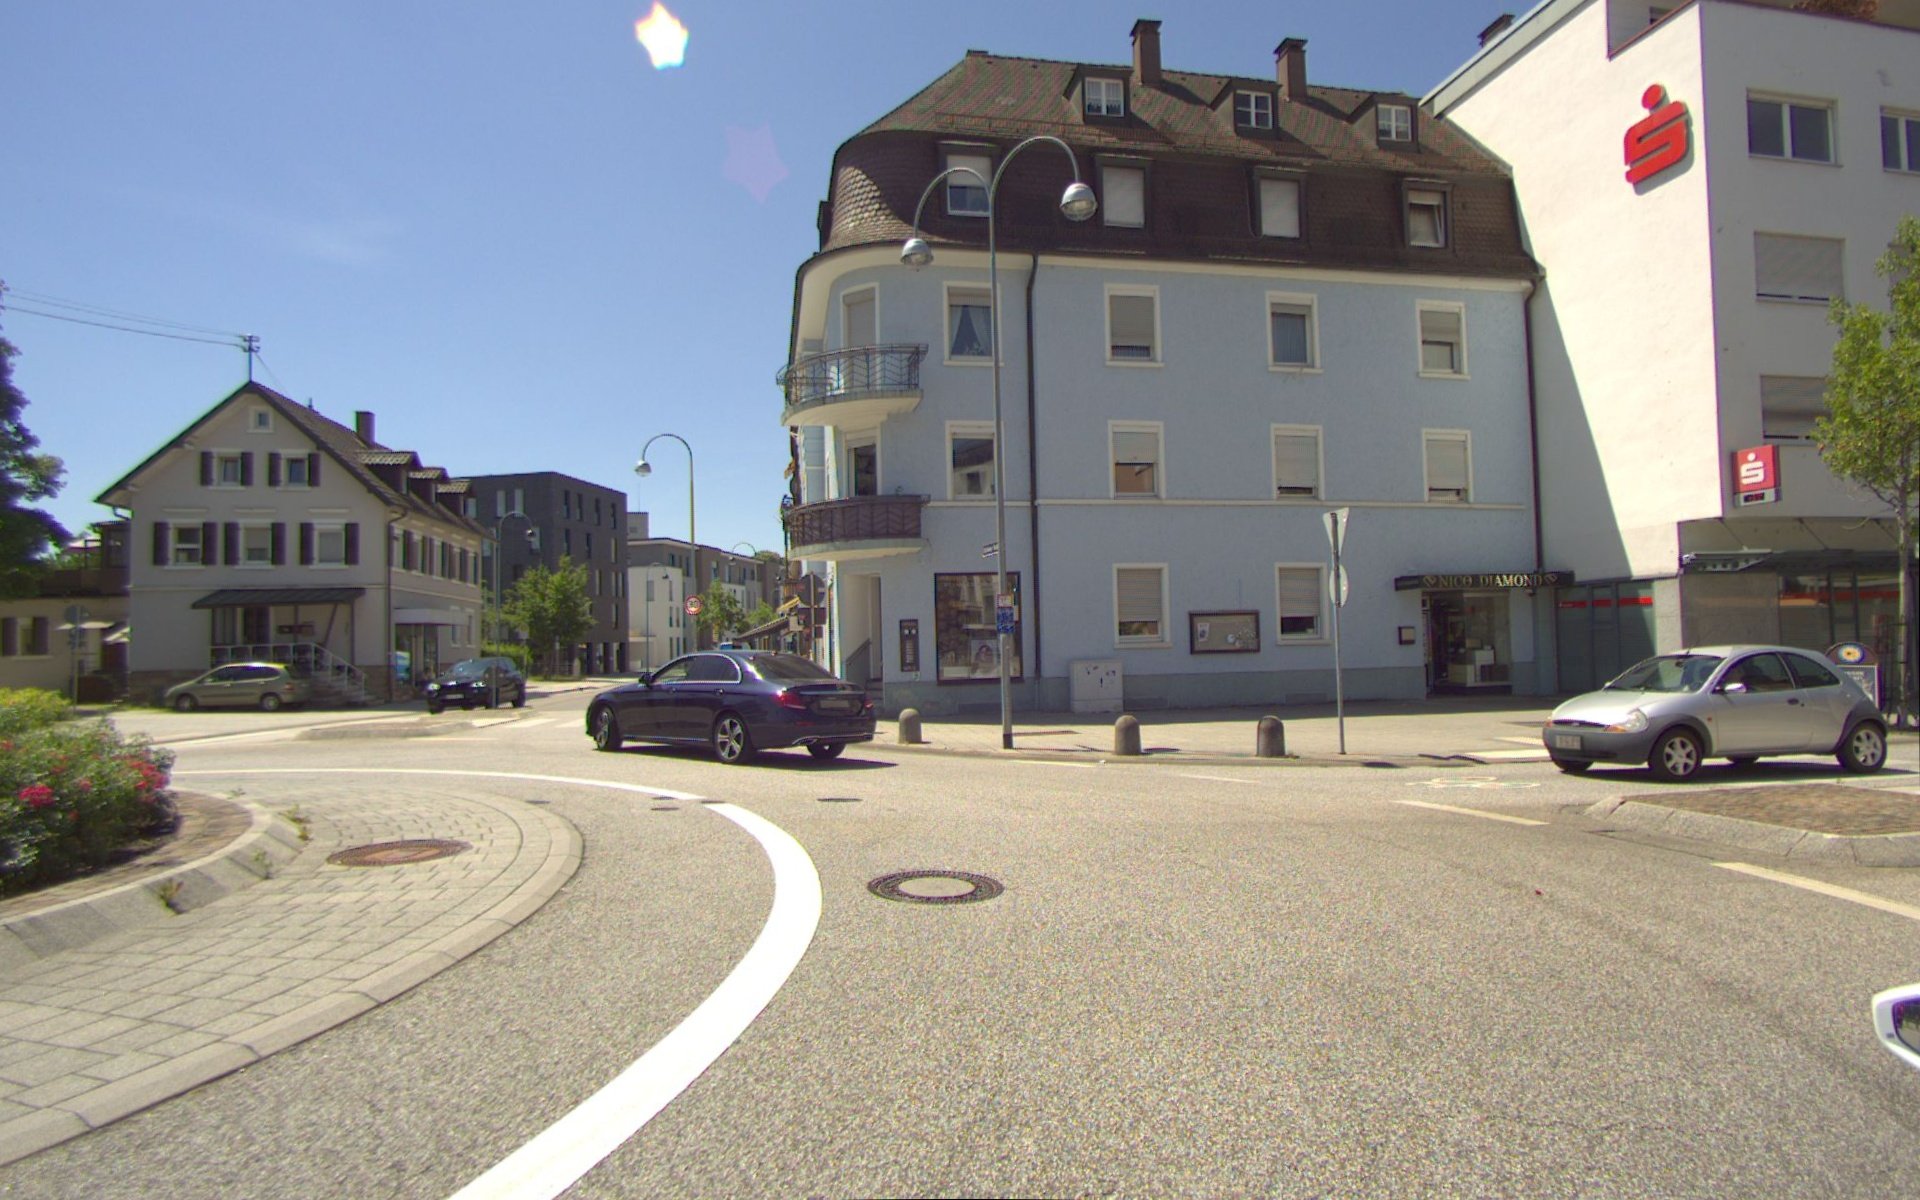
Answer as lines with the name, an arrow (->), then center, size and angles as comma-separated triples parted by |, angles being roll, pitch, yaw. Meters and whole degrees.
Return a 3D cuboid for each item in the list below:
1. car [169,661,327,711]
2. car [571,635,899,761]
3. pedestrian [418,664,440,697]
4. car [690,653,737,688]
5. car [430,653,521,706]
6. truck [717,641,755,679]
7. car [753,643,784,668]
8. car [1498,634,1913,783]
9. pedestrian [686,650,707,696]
car -> -24.169, 2.917, 34.226 | 3.926, 1.616, 1.793 | 0, -4, -8
car -> -3.272, 1.351, 14.162 | 4.635, 1.496, 1.993 | -4, -5, 37
pedestrian -> -22.008, 3.328, 41.605 | 0.673, 1.302, 0.580 | 0, -3, -13
car -> -12.192, 3.465, 49.865 | 1.652, 1.566, 3.944 | -3, -2, -6
car -> -15.690, 2.548, 32.733 | 1.723, 1.566, 3.589 | -1, -3, -10
truck -> -15.695, 4.180, 70.466 | 1.925, 2.400, 4.334 | 4, -3, -6
car -> -12.908, 3.714, 67.874 | 1.652, 1.566, 3.591 | -3, -2, -6
car -> 8.480, 1.192, 11.581 | 3.721, 1.477, 1.703 | -1, -4, -10
pedestrian -> -9.352, 2.584, 35.649 | 0.617, 1.544, 0.802 | -3, -2, -12
